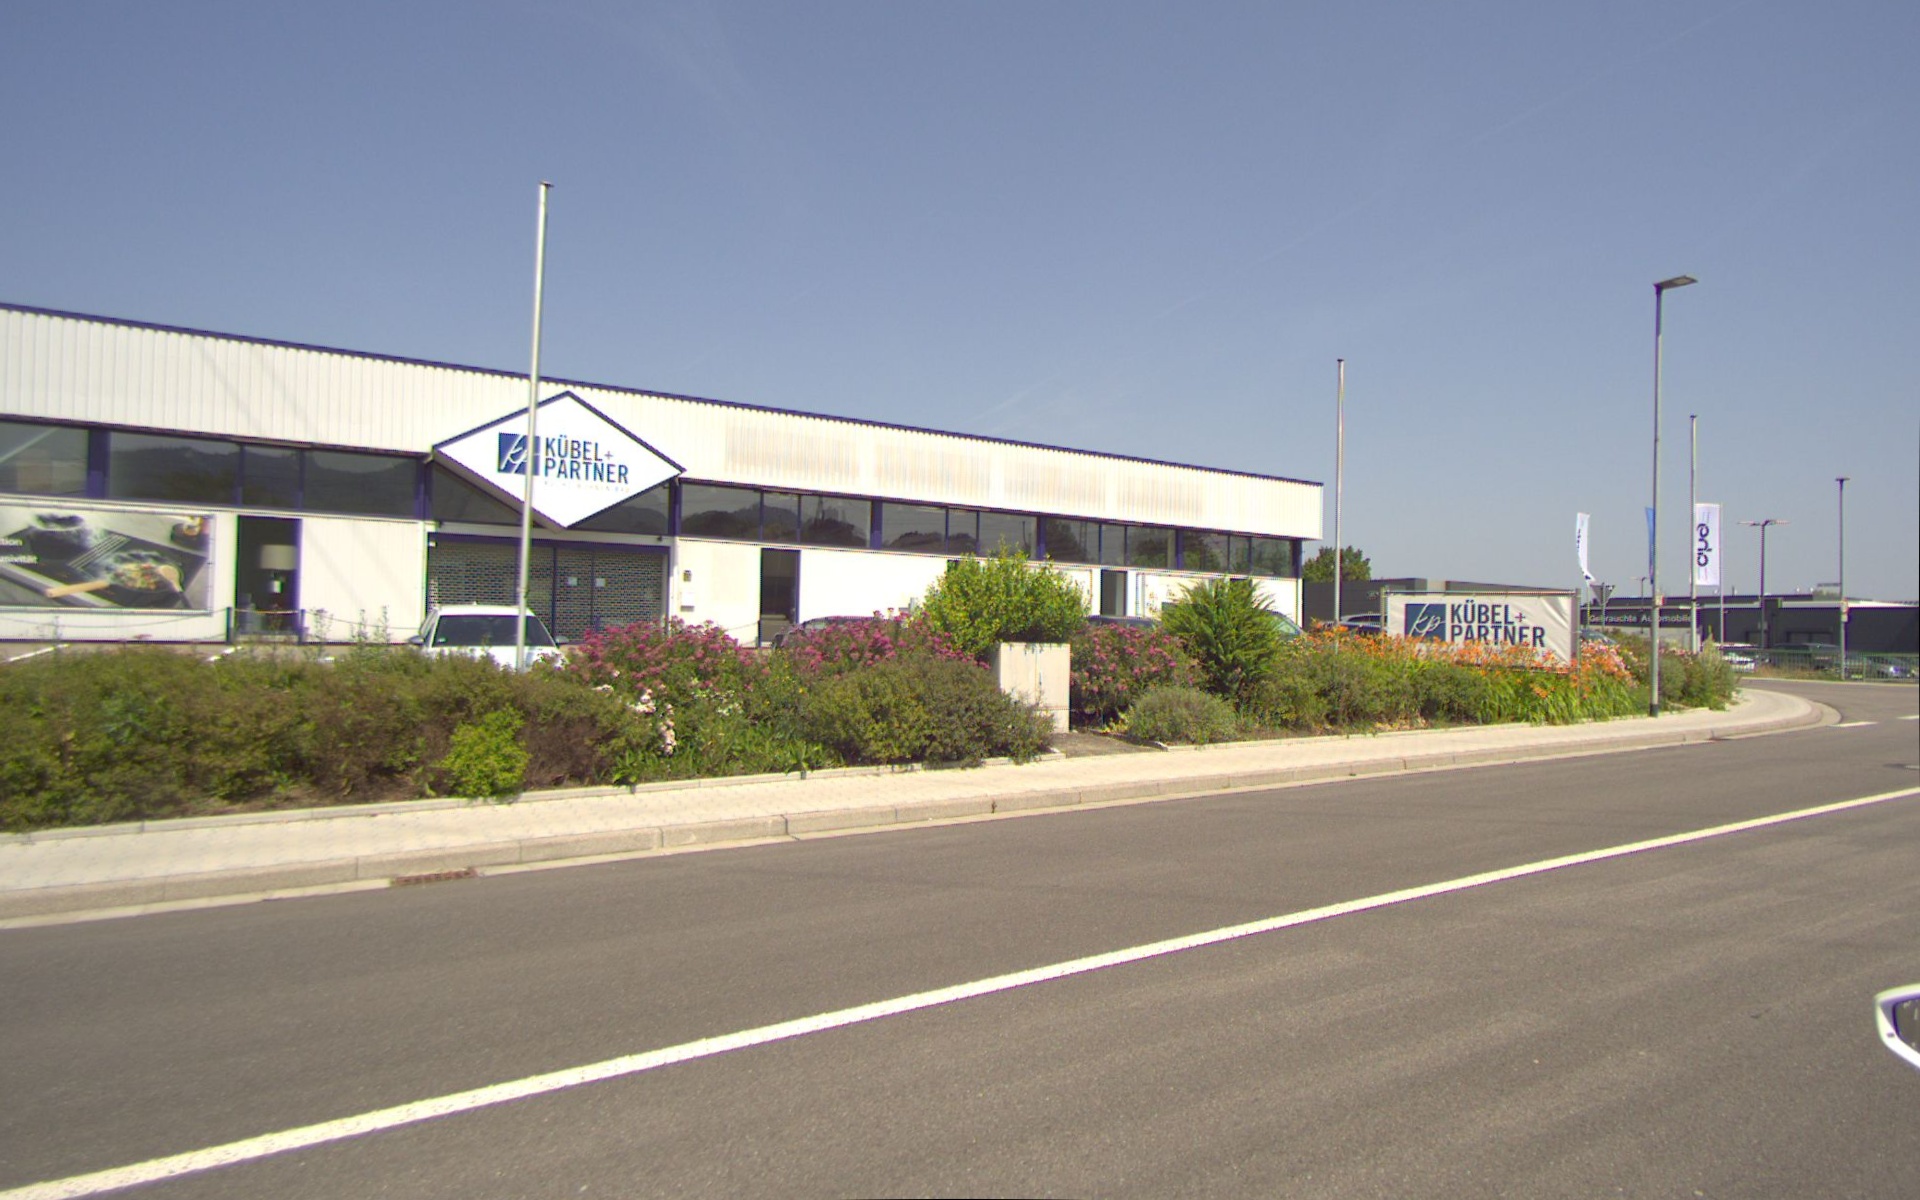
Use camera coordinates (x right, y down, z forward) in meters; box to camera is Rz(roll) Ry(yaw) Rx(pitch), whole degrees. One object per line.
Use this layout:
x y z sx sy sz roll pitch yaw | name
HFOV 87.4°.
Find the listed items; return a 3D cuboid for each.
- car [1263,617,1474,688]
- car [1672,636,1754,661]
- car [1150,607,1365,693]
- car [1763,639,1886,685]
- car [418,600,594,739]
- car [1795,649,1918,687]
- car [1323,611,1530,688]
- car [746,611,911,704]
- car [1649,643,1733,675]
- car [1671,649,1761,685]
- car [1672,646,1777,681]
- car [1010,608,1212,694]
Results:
9.042 1.142 22.485 1.981 1.432 3.960 2 -3 -36 | car
47.059 3.006 62.844 1.666 1.439 3.818 1 -2 -31 | car
6.103 1.024 21.086 1.814 1.616 4.201 2 -2 -32 | car
39.354 2.777 45.886 2.024 1.889 4.683 2 -2 8 | car
-6.331 0.813 13.730 1.744 1.475 4.202 2 1 -30 | car
42.494 3.186 47.700 1.865 1.653 3.968 1 -2 -30 | car
11.076 1.169 24.137 1.814 1.669 4.201 1 -2 -32 | car
-2.309 0.893 16.918 1.487 1.271 3.492 2 1 -30 | car
44.515 3.579 61.243 1.666 1.852 3.818 1 -2 -31 | car
36.912 3.236 49.171 1.888 1.582 4.512 1 -2 14 | car
39.870 3.271 52.470 1.954 1.686 3.968 1 -2 -30 | car
2.953 1.012 20.377 1.978 1.549 3.965 2 -2 -32 | car
